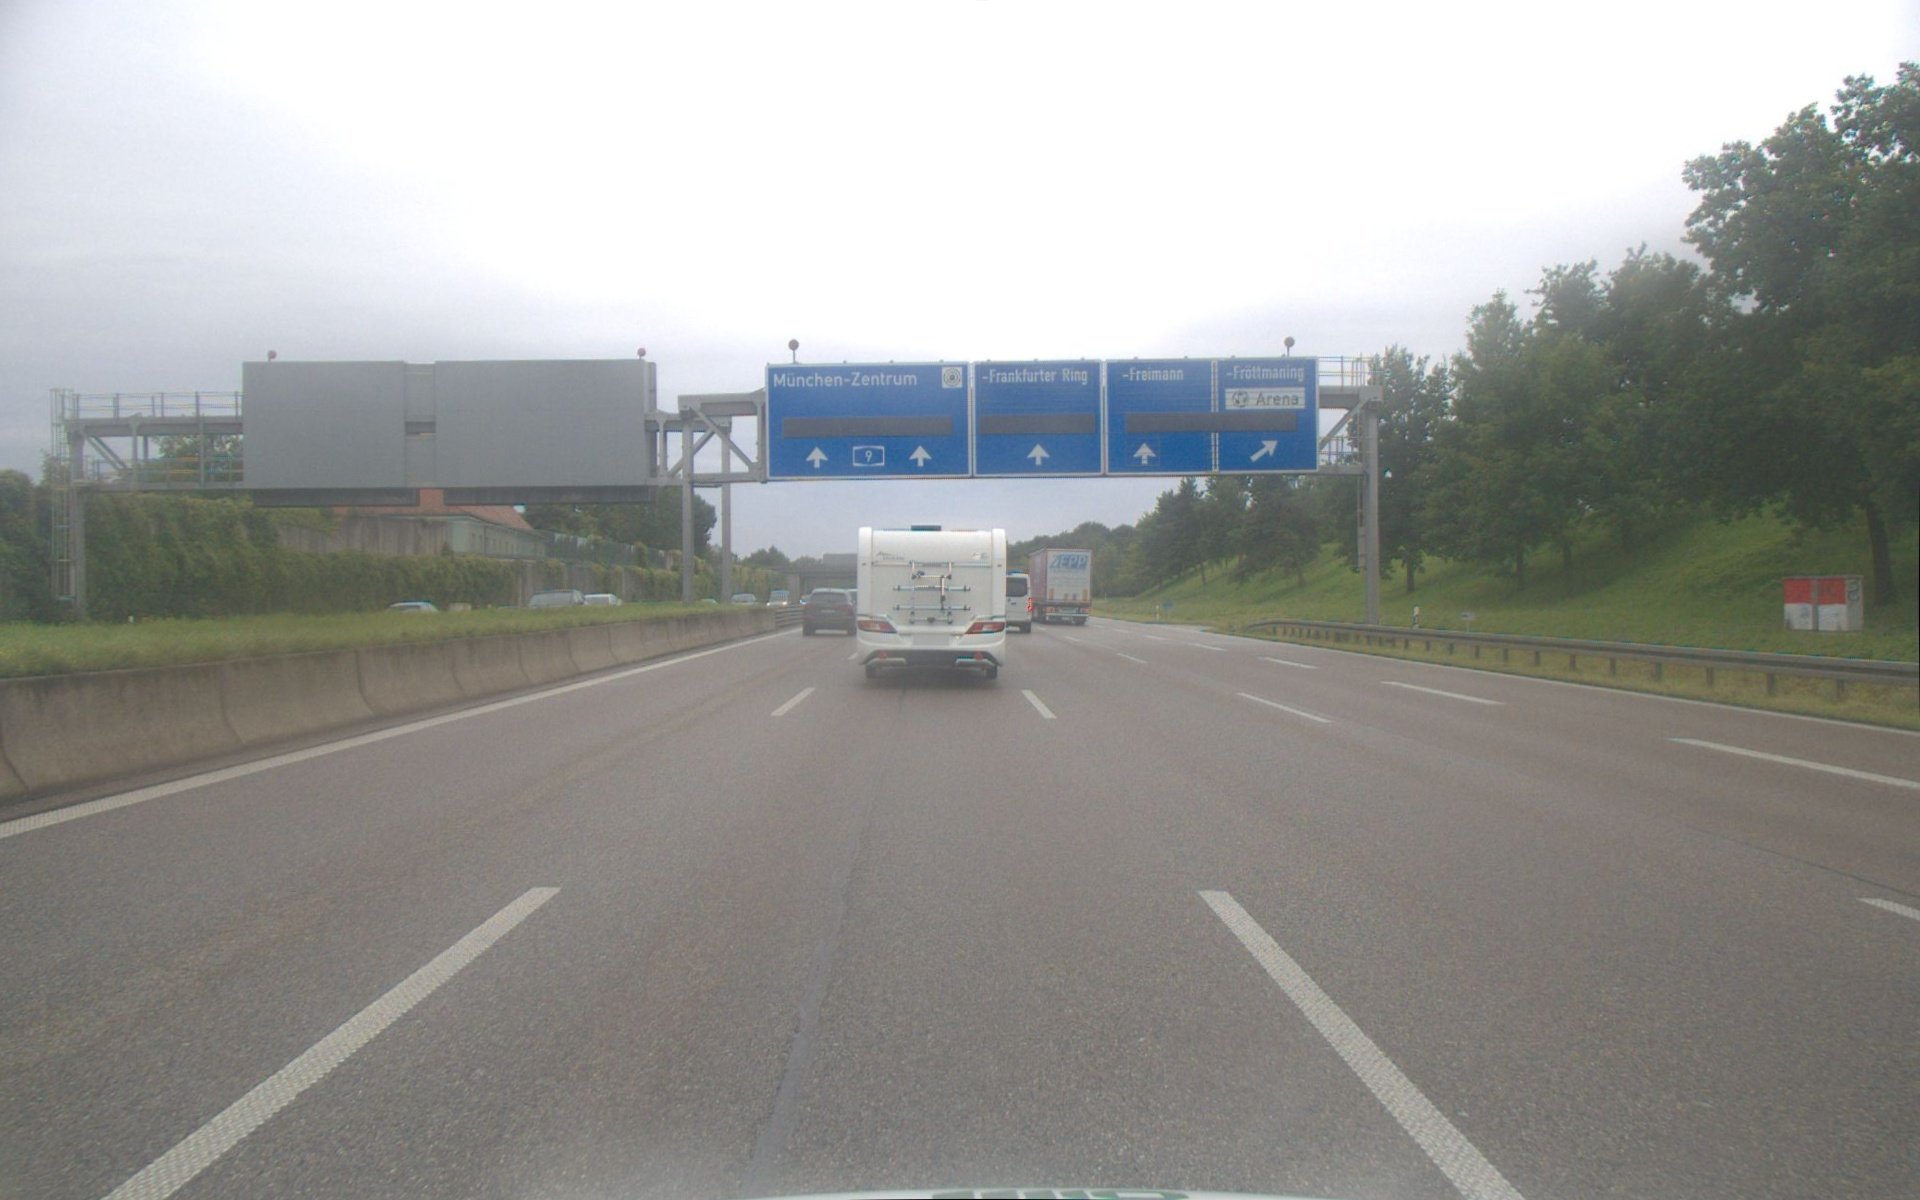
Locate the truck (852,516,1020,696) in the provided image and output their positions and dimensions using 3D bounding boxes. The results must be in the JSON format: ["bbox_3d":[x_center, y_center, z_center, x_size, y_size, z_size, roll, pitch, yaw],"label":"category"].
[{"bbox_3d":[-0.443,0.108,28.667,2.607,2.790,5.076,1,0,-2],"label":"truck"}]

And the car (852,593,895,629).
[{"bbox_3d":[-4.502,0.571,86.740,2.085,1.736,4.111,3,-1,-2],"label":"car"}]

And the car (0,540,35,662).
[{"bbox_3d":[-16.281,-0.006,23.977,2.083,1.945,6.532,1,0,-1],"label":"car"}]

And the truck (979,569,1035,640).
[{"bbox_3d":[1.919,0.186,69.325,2.012,2.818,5.547,1,0,-1],"label":"truck"}]

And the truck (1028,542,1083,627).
[{"bbox_3d":[5.768,-0.905,100.609,2.986,4.924,5.850,1,0,0],"label":"truck"}]

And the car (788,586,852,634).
[{"bbox_3d":[-5.014,0.363,59.776,1.953,1.628,5.122,1,0,-1],"label":"car"}]

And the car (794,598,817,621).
[{"bbox_3d":[-14.485,0.885,155.189,1.816,2.049,3.851,1,0,-1],"label":"car"}]

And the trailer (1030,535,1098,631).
[{"bbox_3d":[5.746,-0.899,93.400,3.036,5.008,11.789,1,0,0],"label":"trailer"}]
